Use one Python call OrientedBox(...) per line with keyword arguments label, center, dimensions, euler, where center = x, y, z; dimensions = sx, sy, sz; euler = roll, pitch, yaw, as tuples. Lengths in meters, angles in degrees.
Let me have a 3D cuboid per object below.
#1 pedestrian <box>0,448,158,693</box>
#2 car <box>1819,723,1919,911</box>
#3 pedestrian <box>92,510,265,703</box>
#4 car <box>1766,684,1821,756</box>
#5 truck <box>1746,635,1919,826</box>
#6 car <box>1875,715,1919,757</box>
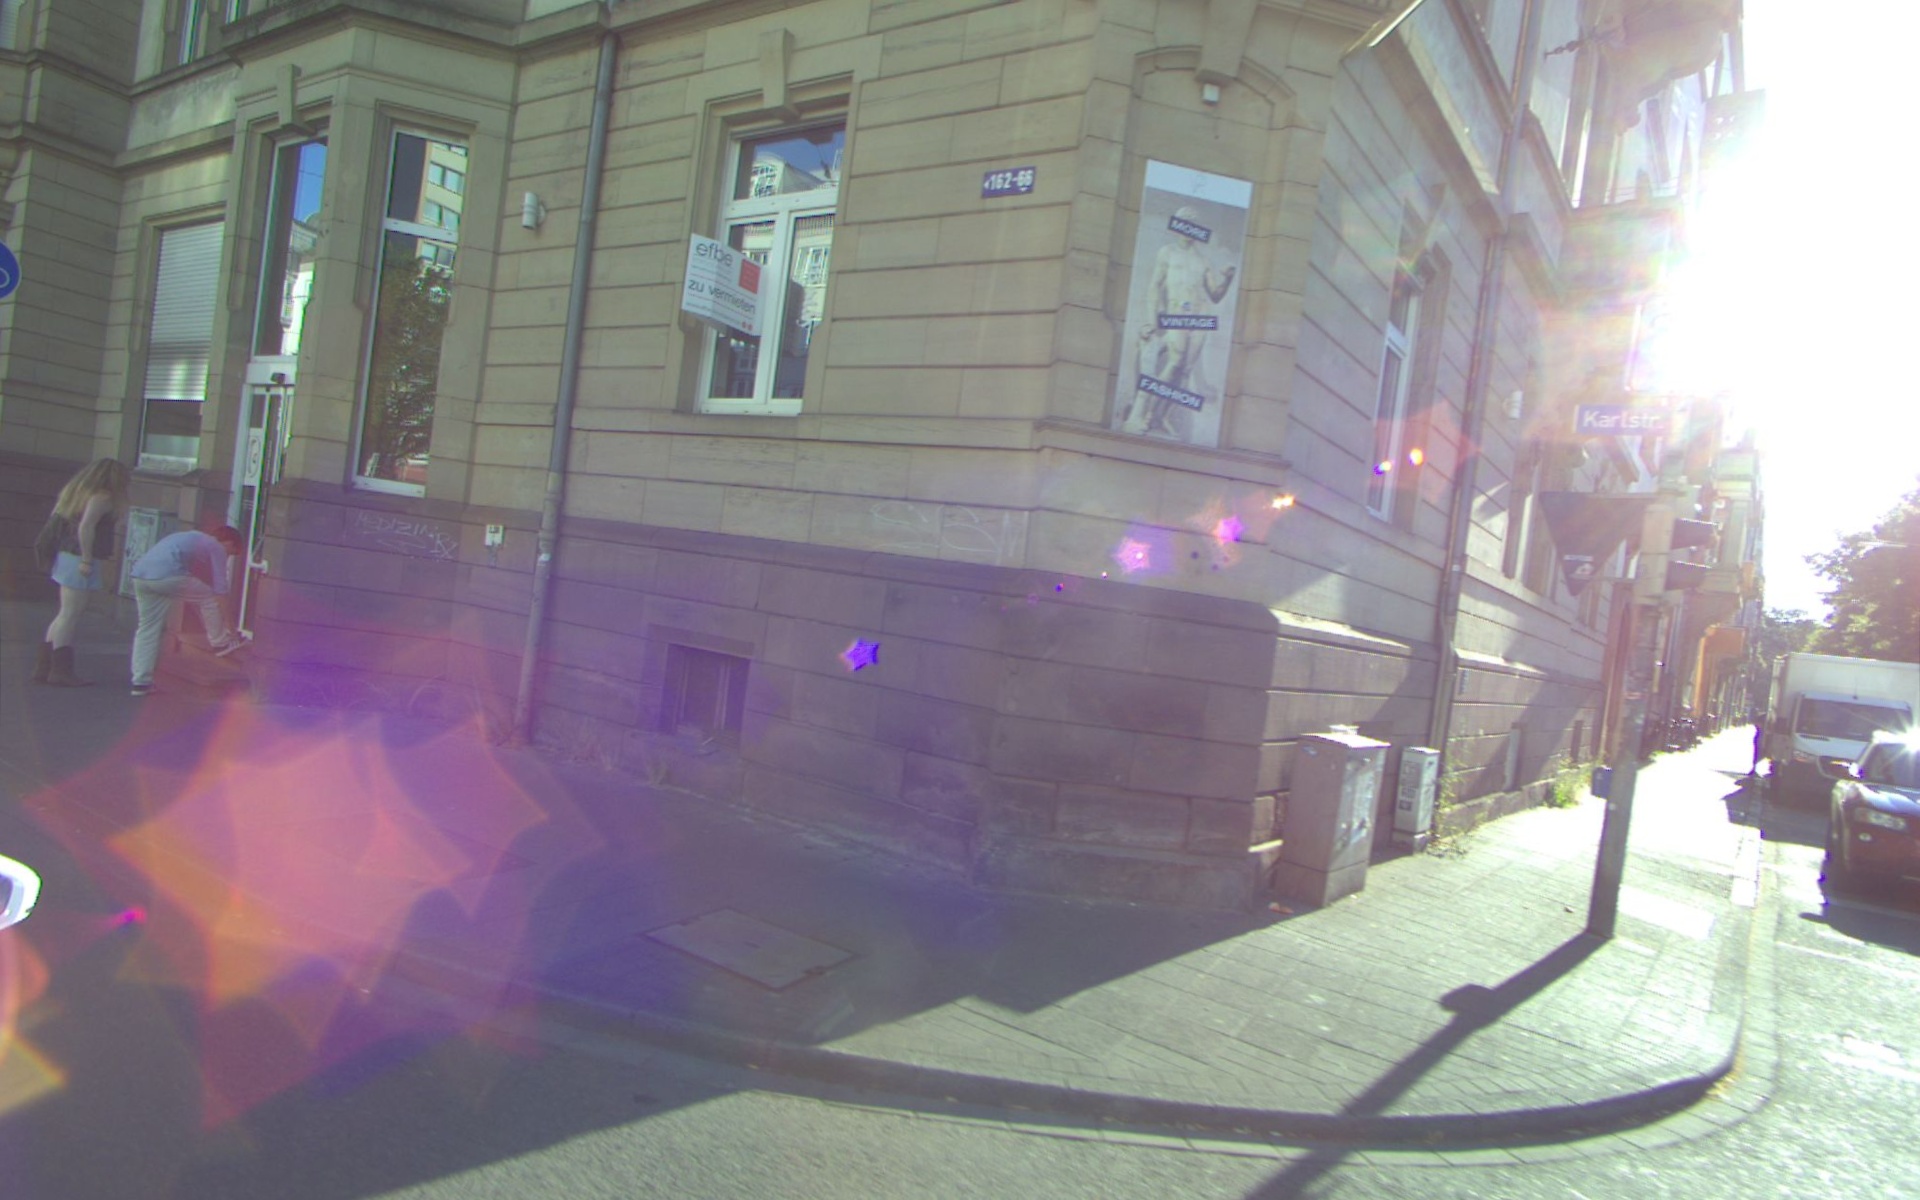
OrientedBox(label="pedestrian", center=(-6.820, -0.224, 7.696), dimensions=(0.707, 1.744, 0.794), euler=(8, 3, 30))
OrientedBox(label="car", center=(10.633, 2.316, 10.817), dimensions=(1.917, 1.651, 4.255), euler=(8, -1, 40))
OrientedBox(label="pedestrian", center=(-6.018, 0.046, 7.760), dimensions=(0.707, 1.349, 0.794), euler=(8, 3, 30))
OrientedBox(label="car", center=(46.032, 6.570, 55.563), dimensions=(1.917, 3.513, 5.674), euler=(8, 1, 40))
OrientedBox(label="truck", center=(18.595, 2.678, 21.365), dimensions=(2.294, 3.117, 8.061), euler=(8, 0, 36))
OrientedBox(label="car", center=(52.449, 7.544, 54.113), dimensions=(1.917, 1.949, 4.253), euler=(7, 0, -19))
